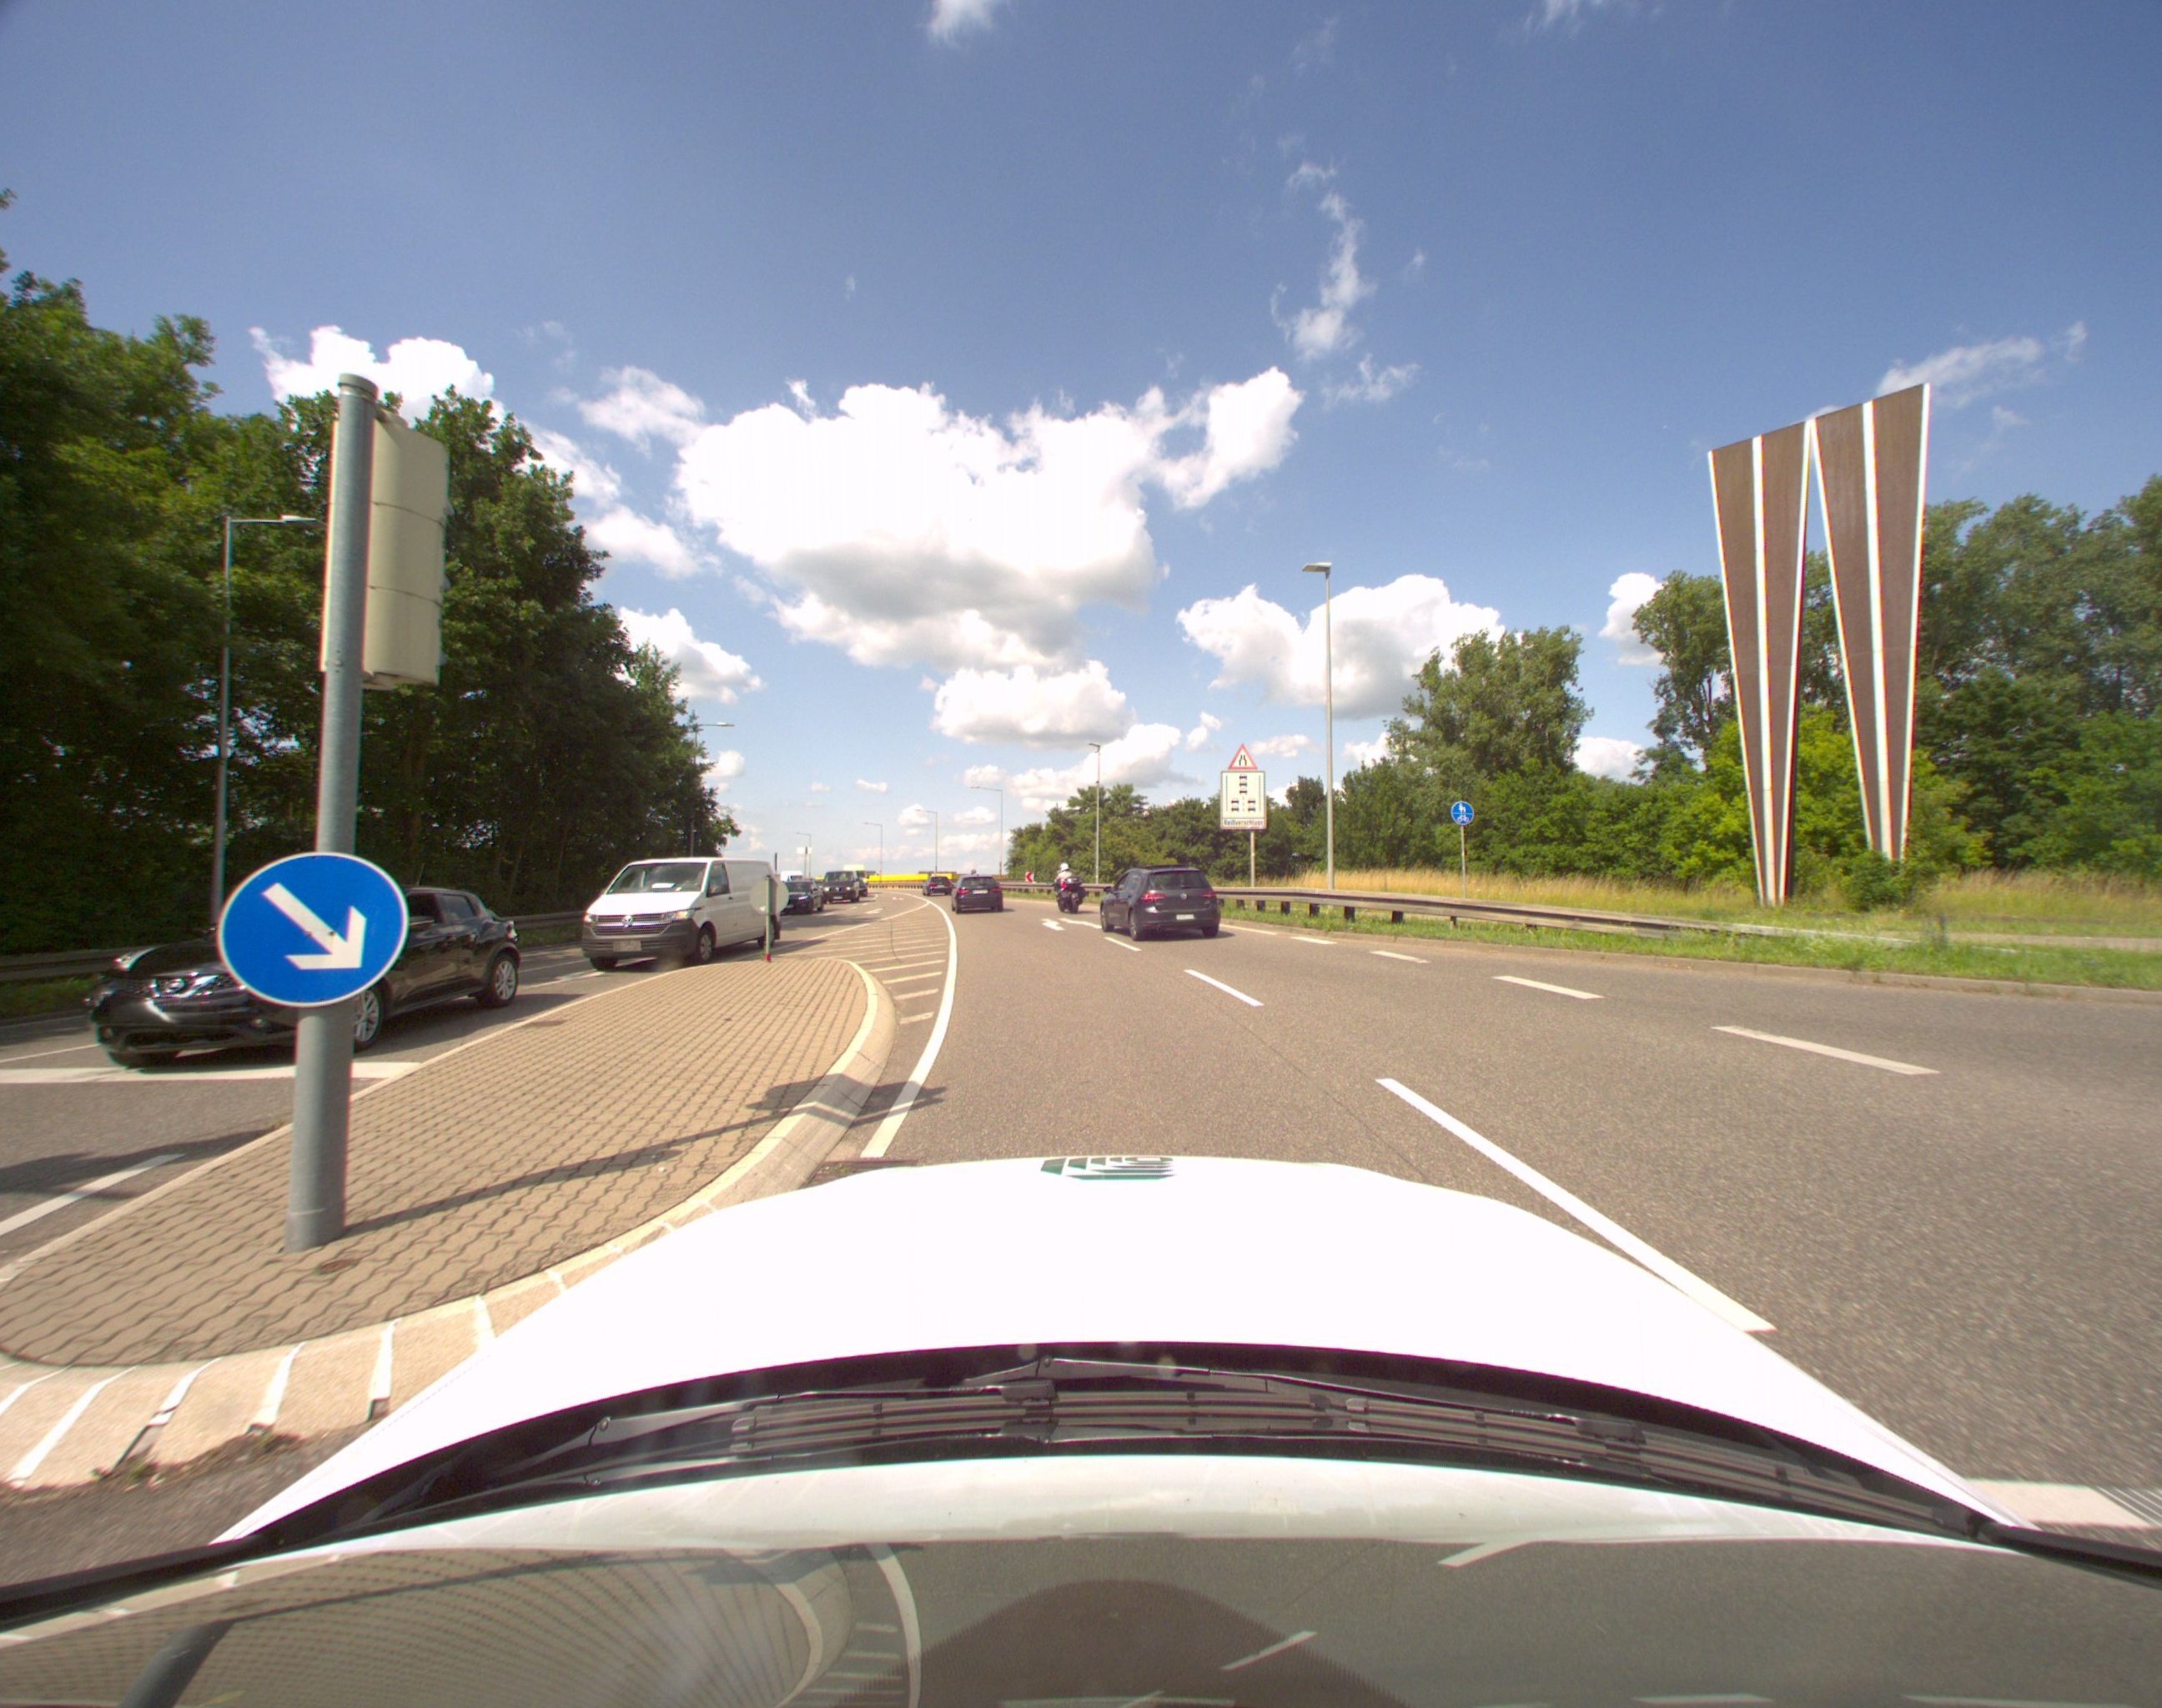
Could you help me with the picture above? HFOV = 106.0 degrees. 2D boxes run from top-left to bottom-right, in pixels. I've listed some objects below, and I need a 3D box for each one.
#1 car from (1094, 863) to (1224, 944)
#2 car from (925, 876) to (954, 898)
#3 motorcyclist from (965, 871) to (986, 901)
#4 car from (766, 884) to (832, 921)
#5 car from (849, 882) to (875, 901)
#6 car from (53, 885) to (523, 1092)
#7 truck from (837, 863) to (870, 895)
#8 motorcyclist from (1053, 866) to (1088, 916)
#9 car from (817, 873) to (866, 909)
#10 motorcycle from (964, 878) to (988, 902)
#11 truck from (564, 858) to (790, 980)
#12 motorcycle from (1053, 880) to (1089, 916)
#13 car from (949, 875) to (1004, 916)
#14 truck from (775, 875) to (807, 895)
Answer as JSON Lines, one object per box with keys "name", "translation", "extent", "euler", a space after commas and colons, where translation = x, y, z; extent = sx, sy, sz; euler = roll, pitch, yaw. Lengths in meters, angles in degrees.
{"name": "car", "translation": [1.528, 1.018, 17.378], "extent": [1.644, 1.479, 3.855], "euler": [-1, -2, -12]}
{"name": "car", "translation": [-10.189, 2.387, 58.554], "extent": [1.645, 1.479, 3.851], "euler": [-1, -2, -16]}
{"name": "motorcyclist", "translation": [-5.728, 1.740, 44.195], "extent": [0.968, 1.596, 1.118], "euler": [0, -2, -17]}
{"name": "car", "translation": [-12.311, 2.061, 35.791], "extent": [1.632, 1.410, 4.331], "euler": [-3, -1, -4]}
{"name": "car", "translation": [-16.781, 2.841, 62.357], "extent": [1.802, 1.389, 3.985], "euler": [-2, -2, -15]}
{"name": "car", "translation": [-7.684, 1.140, 8.501], "extent": [1.699, 1.557, 3.806], "euler": [-1, -1, -12]}
{"name": "truck", "translation": [-20.435, 2.259, 72.882], "extent": [2.002, 2.621, 6.057], "euler": [-3, -1, -23]}
{"name": "motorcyclist", "translation": [-0.367, 1.235, 27.323], "extent": [0.966, 1.620, 1.120], "euler": [-1, -2, -12]}
{"name": "car", "translation": [-14.181, 2.150, 48.448], "extent": [1.992, 1.914, 5.117], "euler": [-2, -1, -8]}
{"name": "motorcycle", "translation": [-5.726, 1.951, 44.143], "extent": [0.889, 1.247, 2.385], "euler": [-1, -2, -17]}
{"name": "truck", "translation": [-7.481, 1.112, 15.831], "extent": [1.956, 1.913, 5.363], "euler": [-2, -1, -3]}
{"name": "motorcycle", "translation": [-0.366, 1.441, 27.305], "extent": [0.789, 1.132, 2.389], "euler": [-1, -2, -11]}
{"name": "car", "translation": [-3.985, 1.559, 30.615], "extent": [1.683, 1.388, 3.722], "euler": [-2, -3, -12]}
{"name": "truck", "translation": [-38.319, 4.138, 107.459], "extent": [2.010, 2.508, 5.877], "euler": [-1, -2, -39]}
